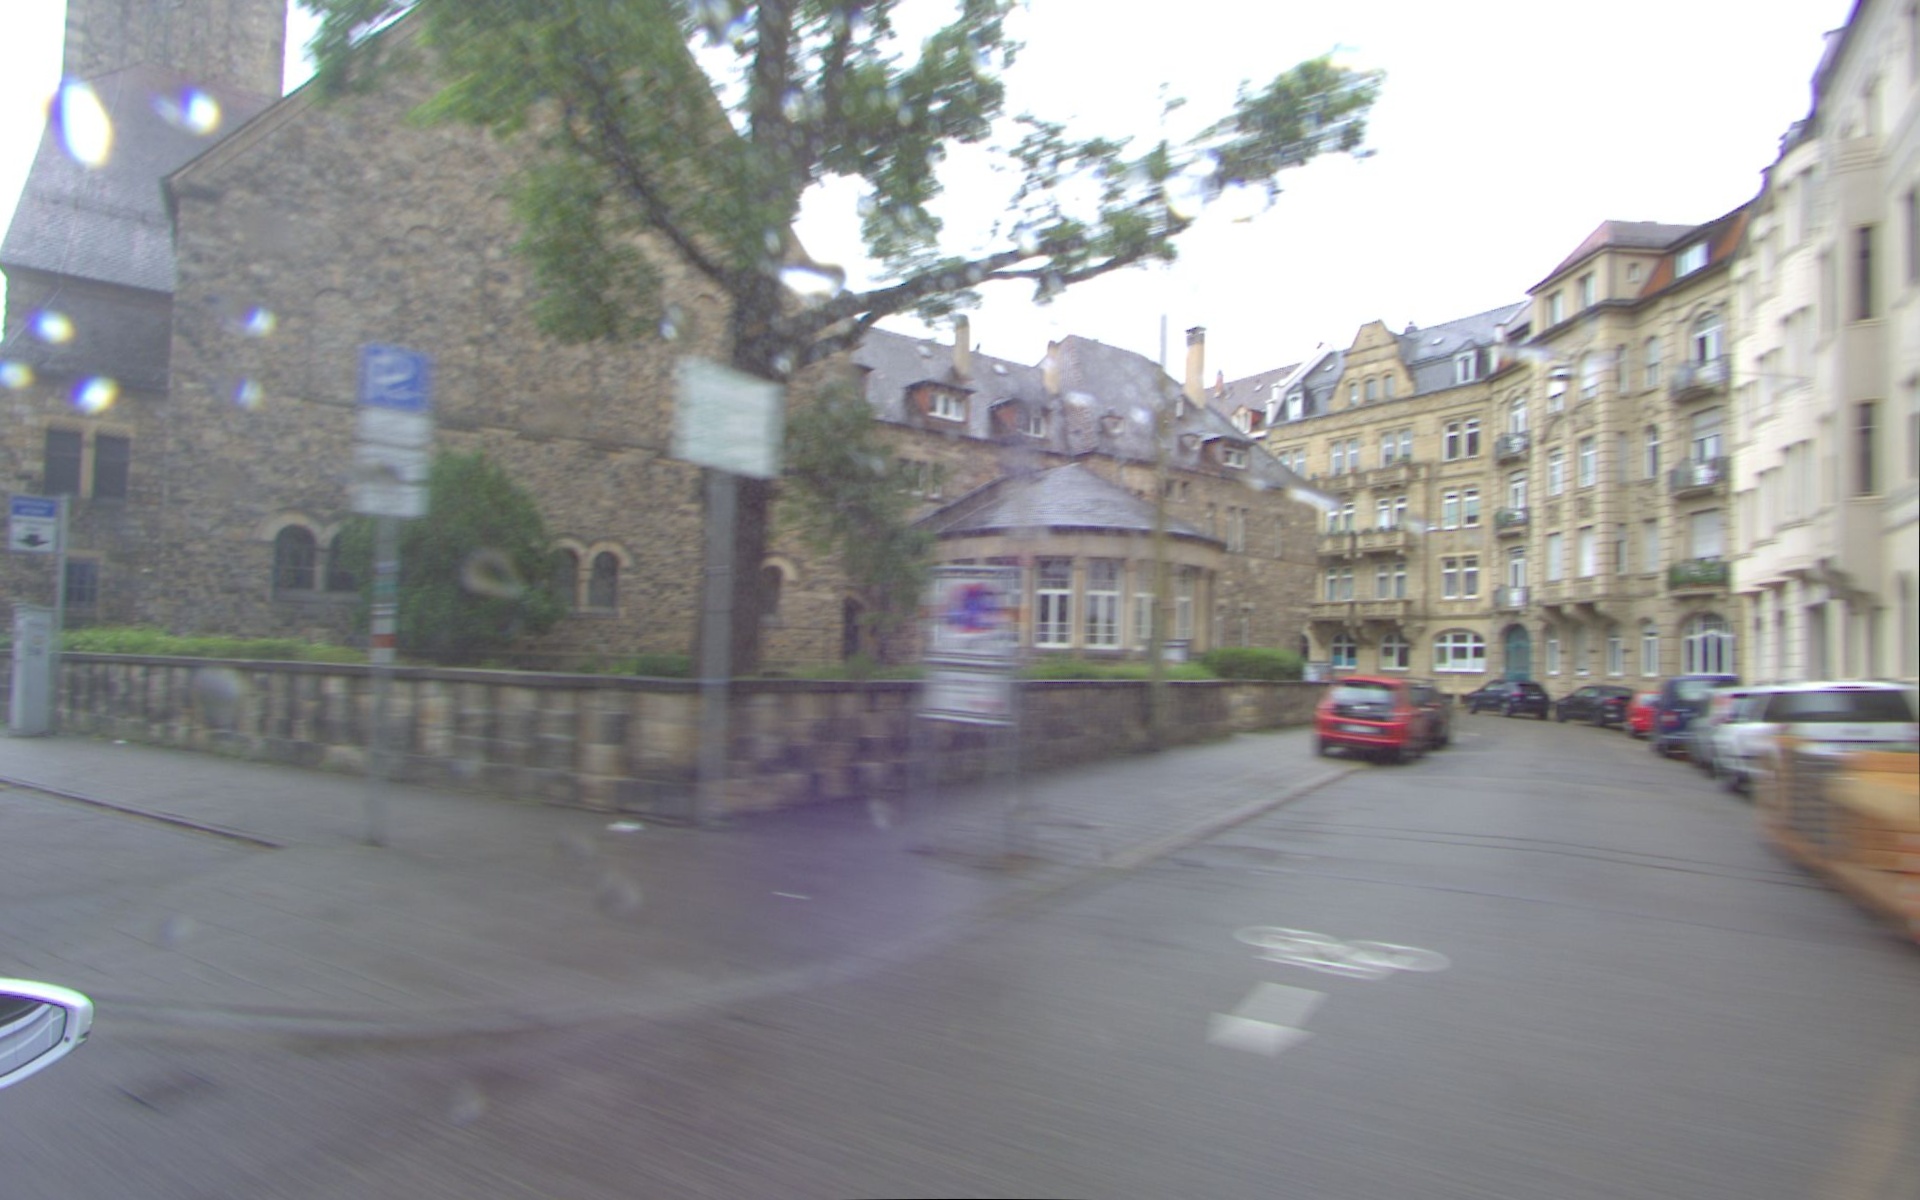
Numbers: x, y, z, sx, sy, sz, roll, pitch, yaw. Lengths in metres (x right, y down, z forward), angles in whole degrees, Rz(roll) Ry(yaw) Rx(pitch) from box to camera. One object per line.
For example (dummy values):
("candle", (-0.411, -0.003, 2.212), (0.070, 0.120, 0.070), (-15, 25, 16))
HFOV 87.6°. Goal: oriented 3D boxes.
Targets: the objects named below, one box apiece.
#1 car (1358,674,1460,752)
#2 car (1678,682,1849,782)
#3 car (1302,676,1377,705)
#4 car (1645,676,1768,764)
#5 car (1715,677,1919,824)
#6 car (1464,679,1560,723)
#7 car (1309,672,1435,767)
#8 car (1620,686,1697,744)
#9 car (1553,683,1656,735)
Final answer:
("car", (10.663, 2.581, 23.652), (1.690, 1.575, 3.959), (2, -3, 31))
("car", (14.628, 2.335, 18.462), (1.788, 1.607, 3.840), (-3, -5, 30))
("car", (20.424, 4.865, 53.930), (1.695, 1.342, 3.390), (4, -3, -36))
("car", (17.014, 2.670, 23.007), (1.787, 1.800, 3.840), (-1, -4, 30))
("car", (11.916, 1.948, 13.819), (1.787, 1.718, 3.841), (-3, -5, 29))
("car", (23.791, 4.327, 43.357), (1.682, 1.575, 4.145), (3, -2, -2))
("car", (8.177, 2.248, 19.690), (1.690, 1.575, 3.838), (2, -3, 31))
("car", (21.963, 3.573, 31.603), (1.690, 1.575, 3.838), (2, -3, 31))
("car", (23.725, 3.968, 37.042), (1.682, 1.575, 4.247), (2, -2, 10))
